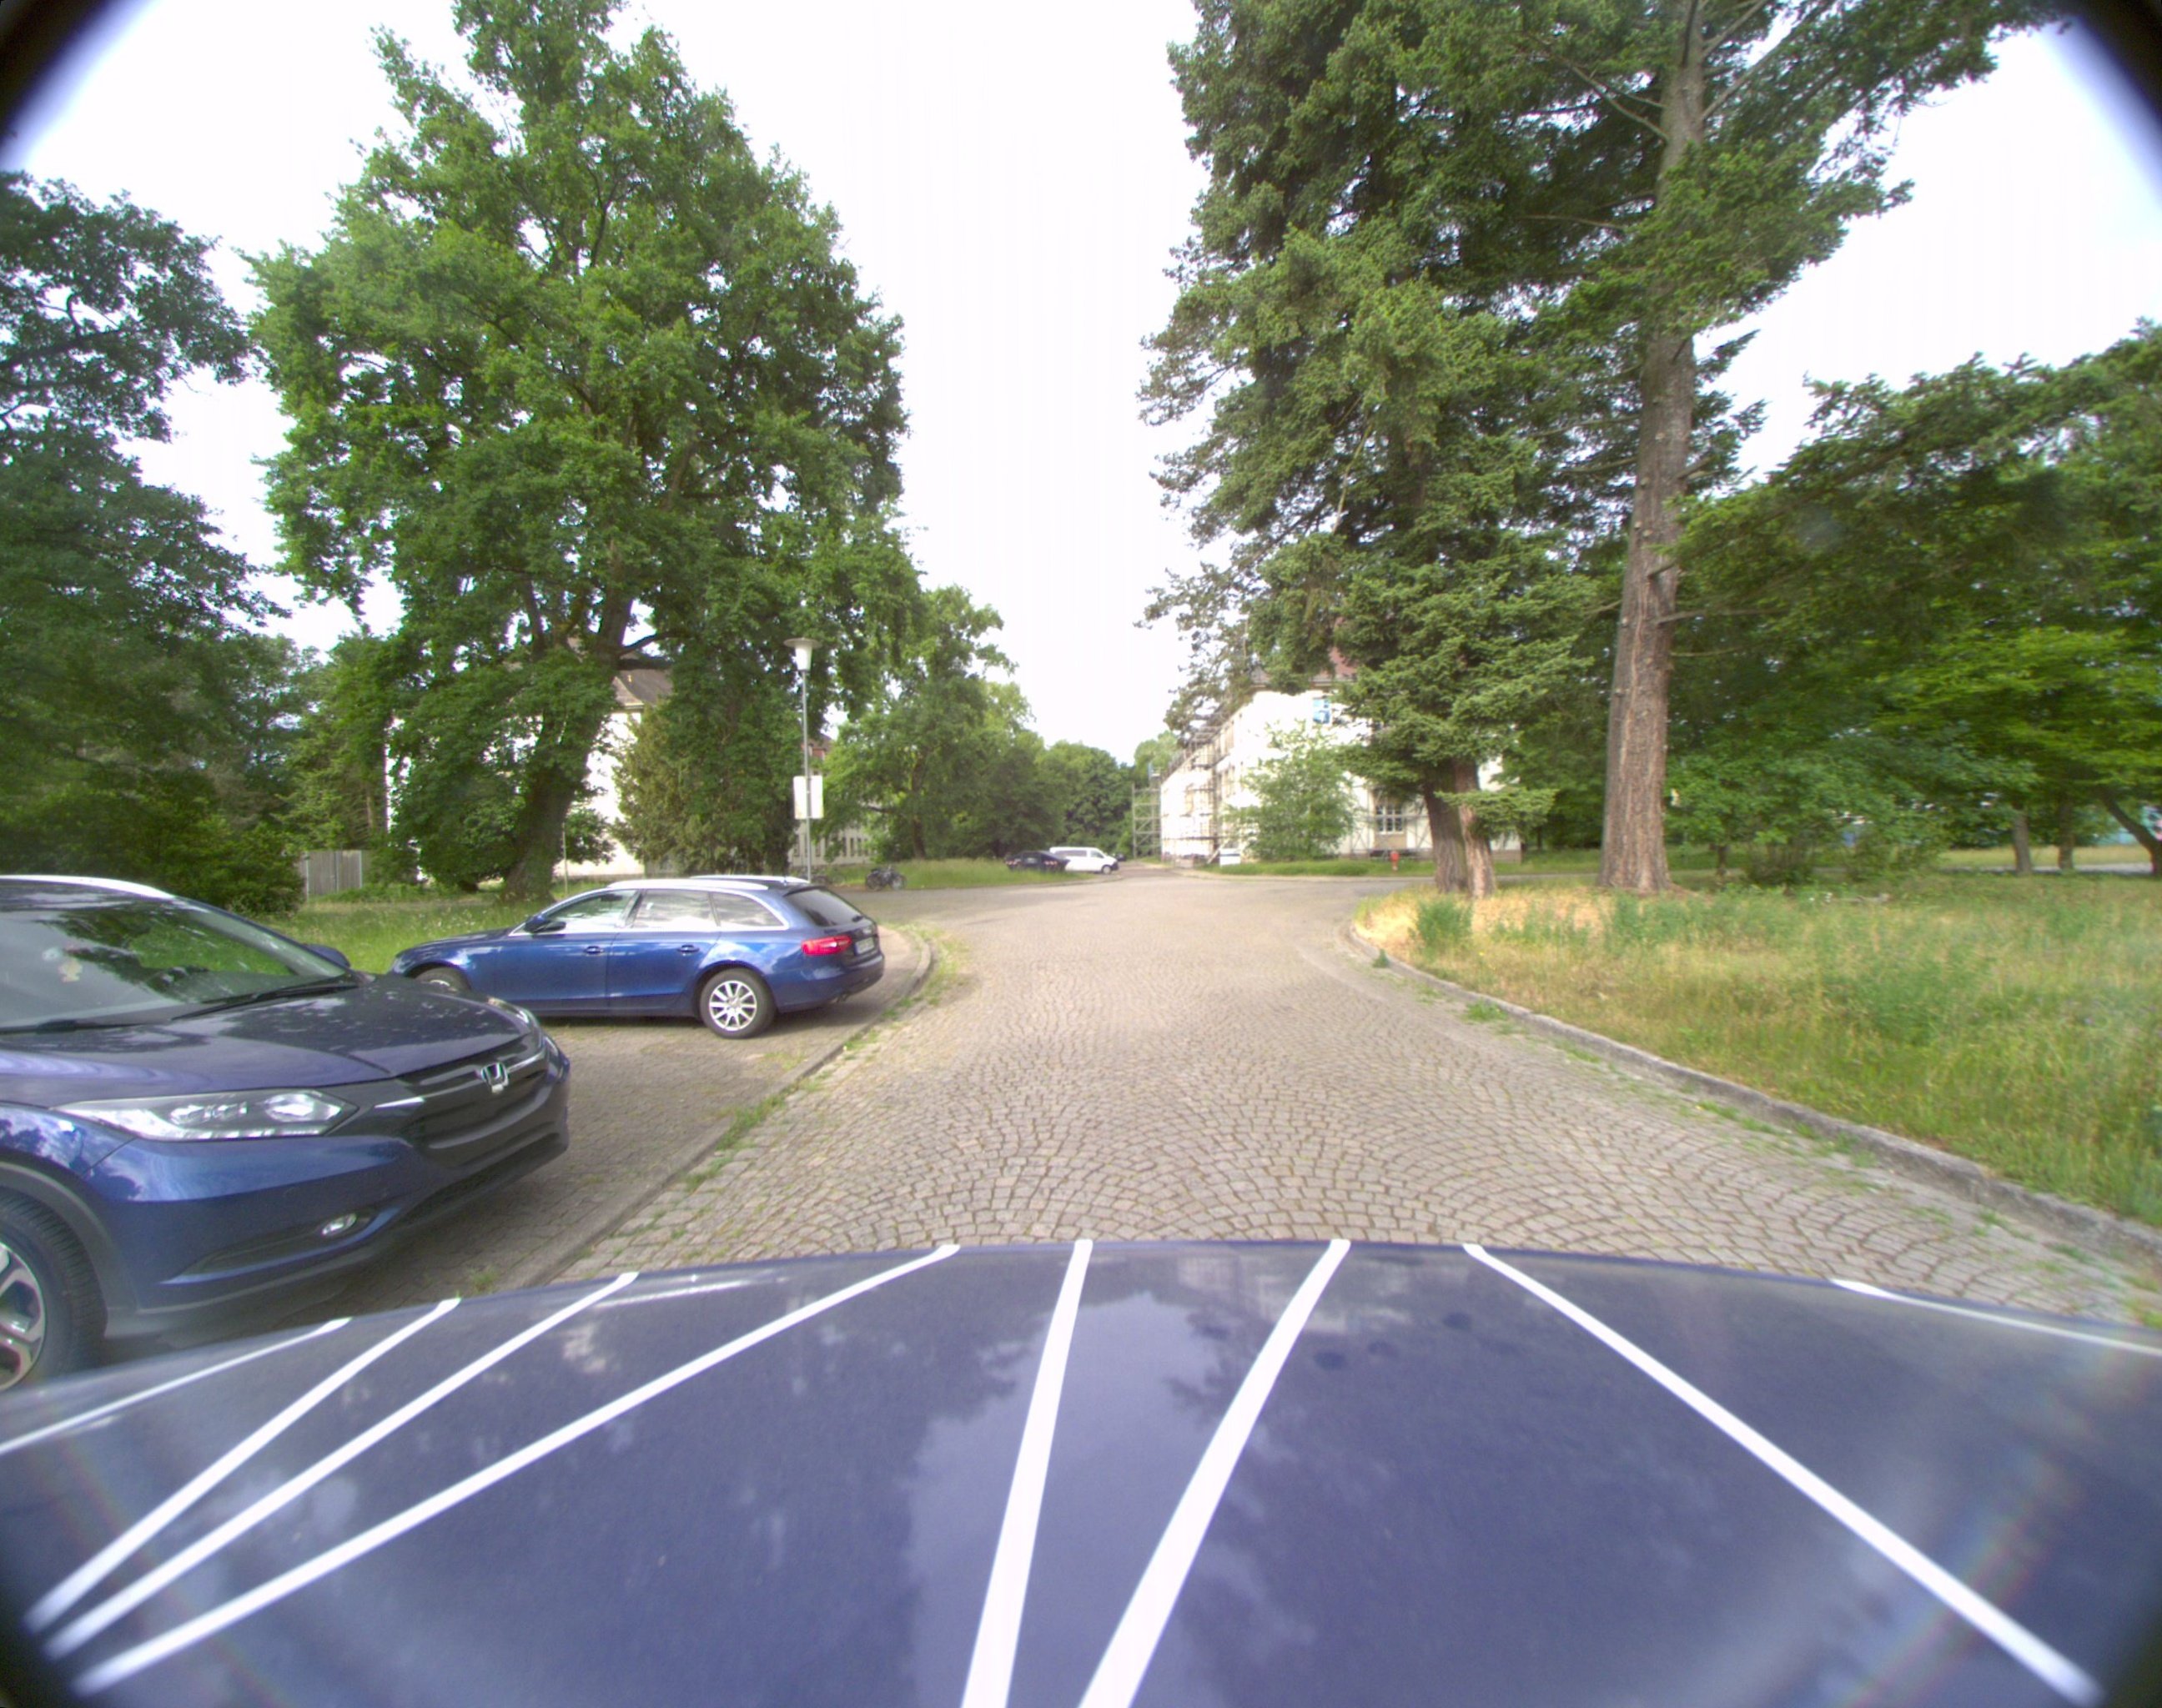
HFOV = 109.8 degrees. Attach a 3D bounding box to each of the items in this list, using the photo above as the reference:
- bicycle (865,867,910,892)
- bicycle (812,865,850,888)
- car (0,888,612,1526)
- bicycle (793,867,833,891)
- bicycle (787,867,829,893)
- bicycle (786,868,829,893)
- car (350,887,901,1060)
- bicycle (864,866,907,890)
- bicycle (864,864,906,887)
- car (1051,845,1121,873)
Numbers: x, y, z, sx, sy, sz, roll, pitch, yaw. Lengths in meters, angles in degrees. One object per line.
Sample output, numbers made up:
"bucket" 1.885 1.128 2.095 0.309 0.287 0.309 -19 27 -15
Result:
"bicycle" -9.217 1.206 36.194 1.976 1.070 0.587 -3 1 -27
"bicycle" -13.446 1.210 40.937 1.859 1.116 0.620 -3 1 -22
"car" -4.468 1.024 2.900 4.172 1.563 1.793 -1 2 1
"bicycle" -13.667 1.255 38.720 1.859 1.116 0.620 -3 1 -22
"bicycle" -13.321 1.258 37.058 1.859 1.116 0.620 -3 1 -22
"bicycle" -13.125 1.257 36.446 1.859 1.116 0.620 -3 1 -22
"car" -4.277 1.090 7.598 4.480 1.413 1.785 0 1 4
"bicycle" -9.721 1.176 37.778 1.976 1.070 0.587 -3 1 -27
"bicycle" -10.283 1.128 39.886 2.032 1.070 0.620 -3 1 -22
"car" 0.350 0.339 56.410 5.101 2.007 2.054 -1 1 -1
